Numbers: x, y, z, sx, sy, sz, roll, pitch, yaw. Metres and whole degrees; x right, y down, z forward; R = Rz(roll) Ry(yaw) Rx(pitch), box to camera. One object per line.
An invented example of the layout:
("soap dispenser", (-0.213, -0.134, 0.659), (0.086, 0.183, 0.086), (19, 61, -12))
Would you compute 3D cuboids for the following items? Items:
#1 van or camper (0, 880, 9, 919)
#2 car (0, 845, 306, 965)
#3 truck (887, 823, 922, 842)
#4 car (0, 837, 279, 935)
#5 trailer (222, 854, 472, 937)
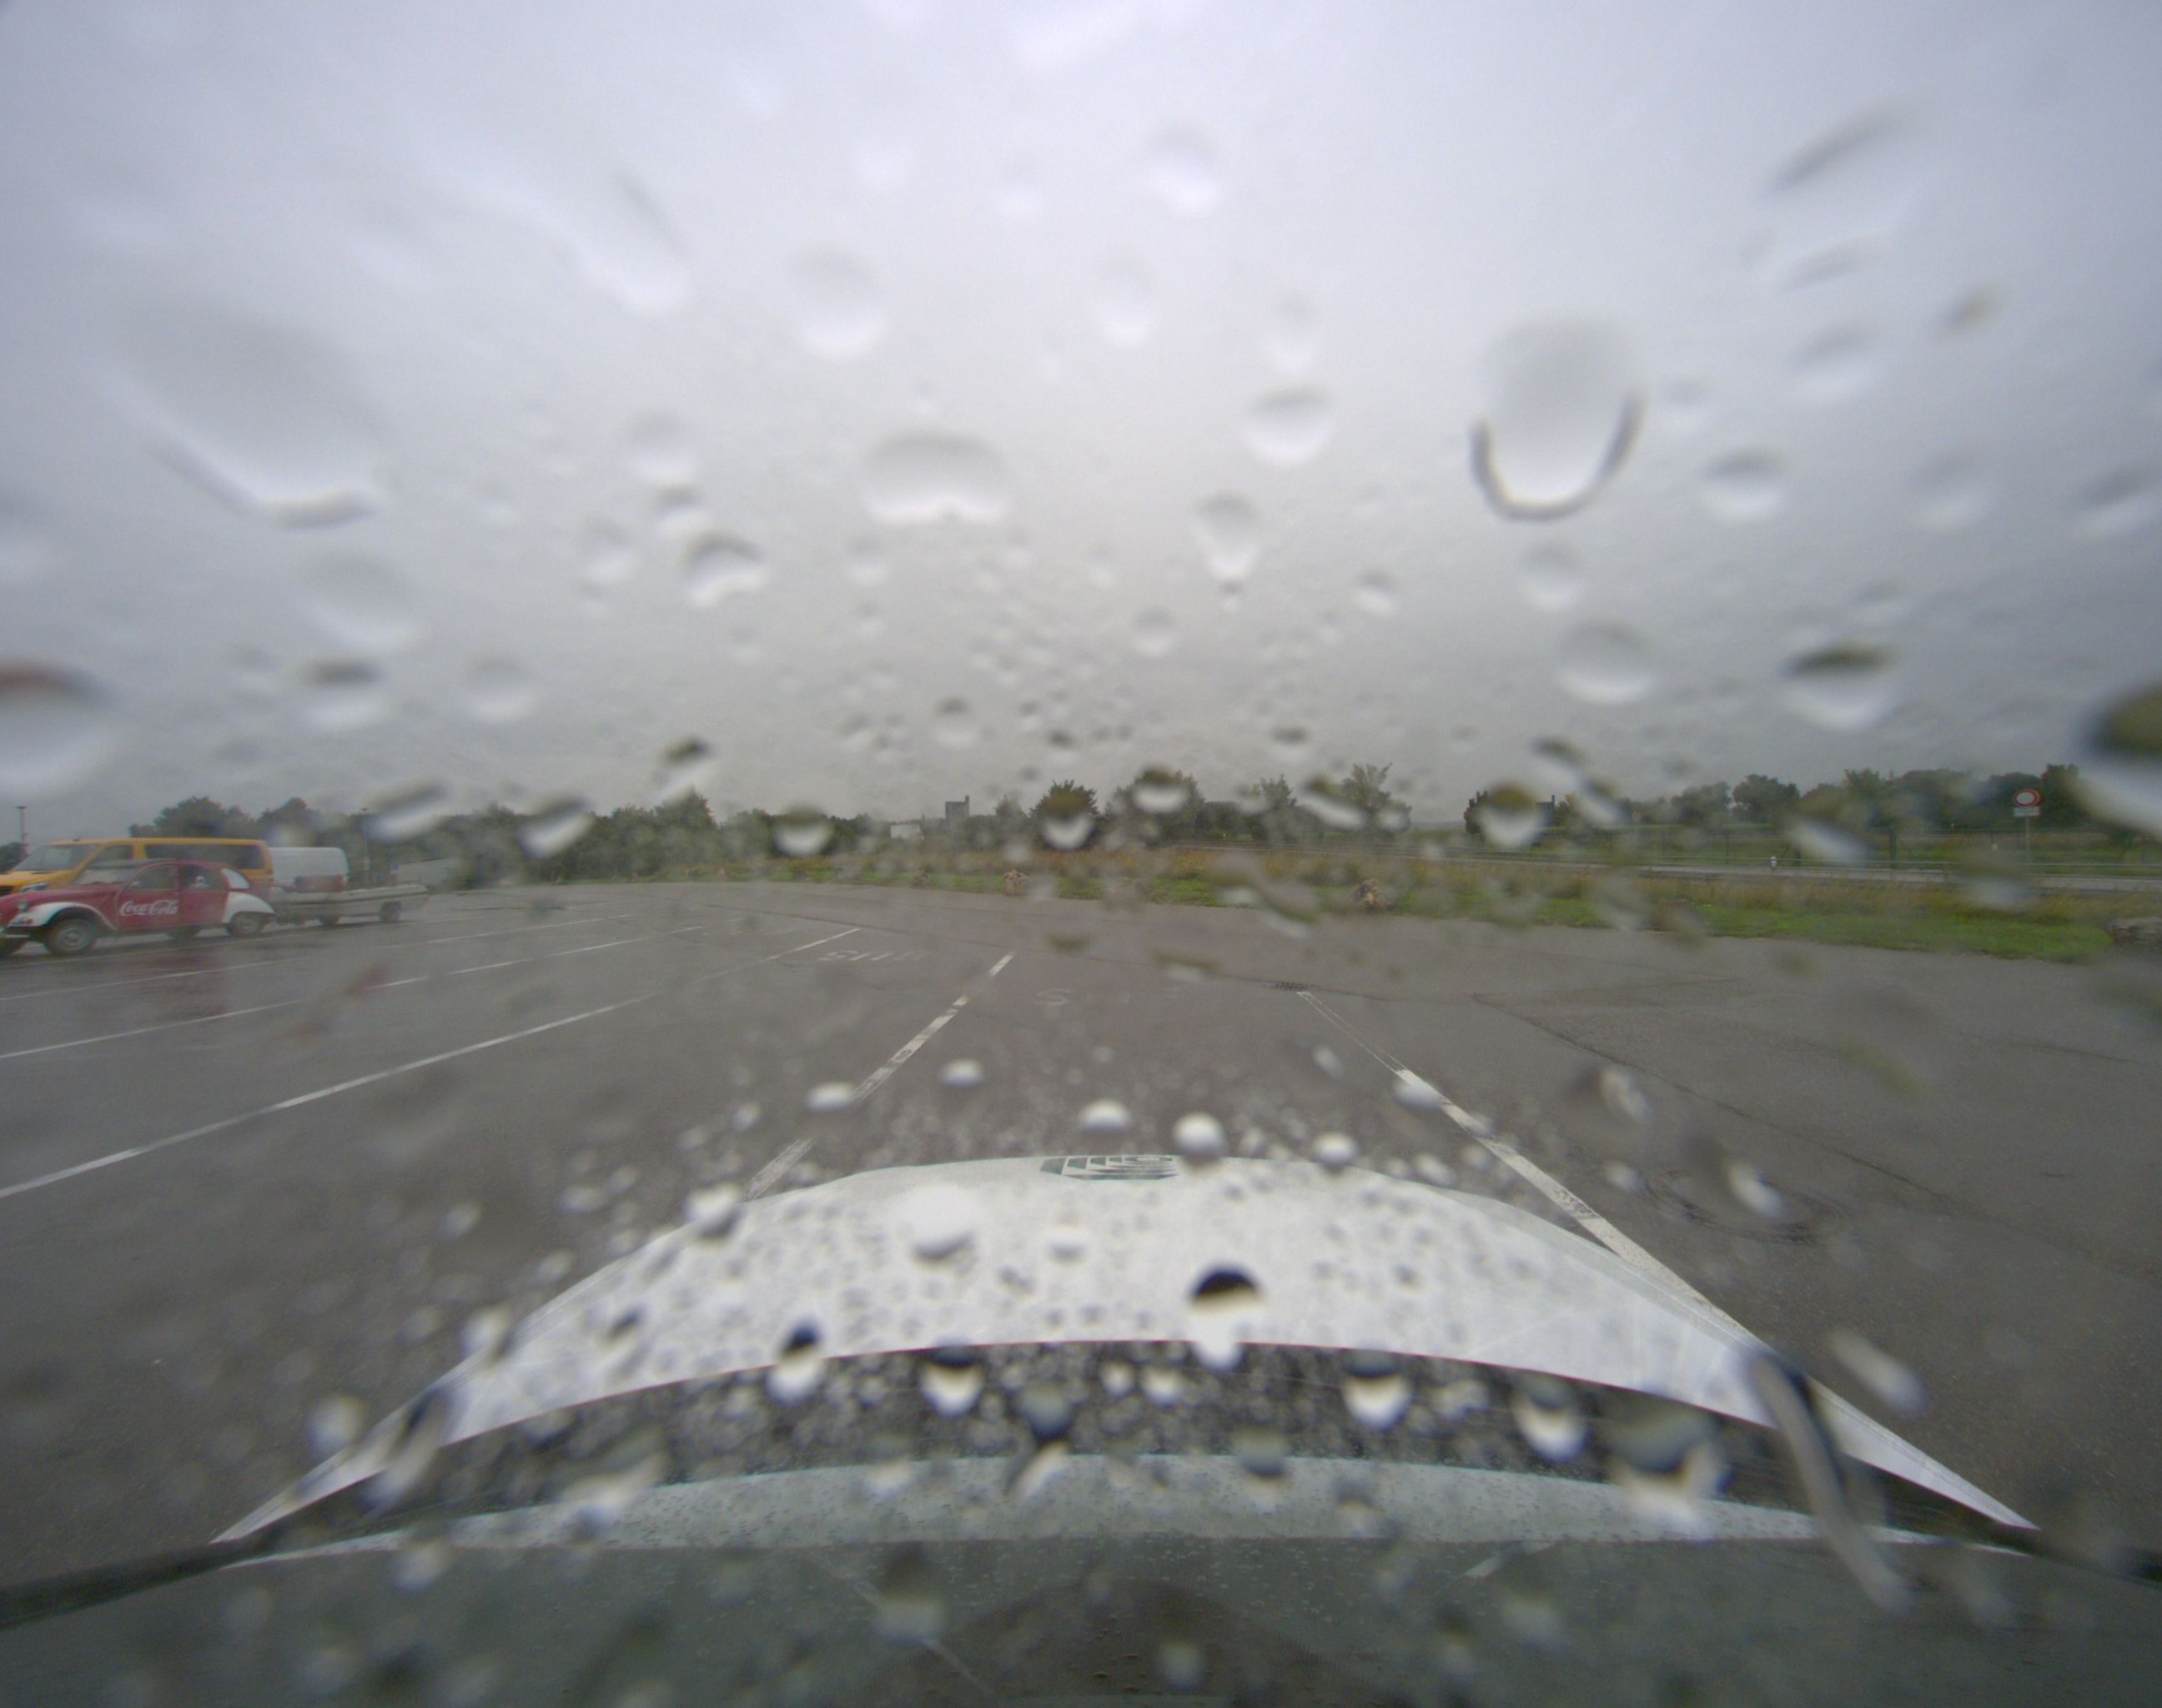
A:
("van or camper", (-62.479, 2.631, 46.041), (3.948, 2.166, 2.013), (-2, 0, 34))
("car", (-16.533, 0.776, 14.260), (1.813, 1.777, 4.006), (-2, 0, 5))
("truck", (-33.259, -4.000, 153.105), (2.764, 3.391, 7.968), (-1, 1, -44))
("car", (-26.766, 0.819, 23.005), (1.986, 2.379, 6.029), (-4, 0, 2))
("trailer", (-16.161, 0.835, 18.254), (1.687, 1.532, 4.006), (-2, 1, 5))
